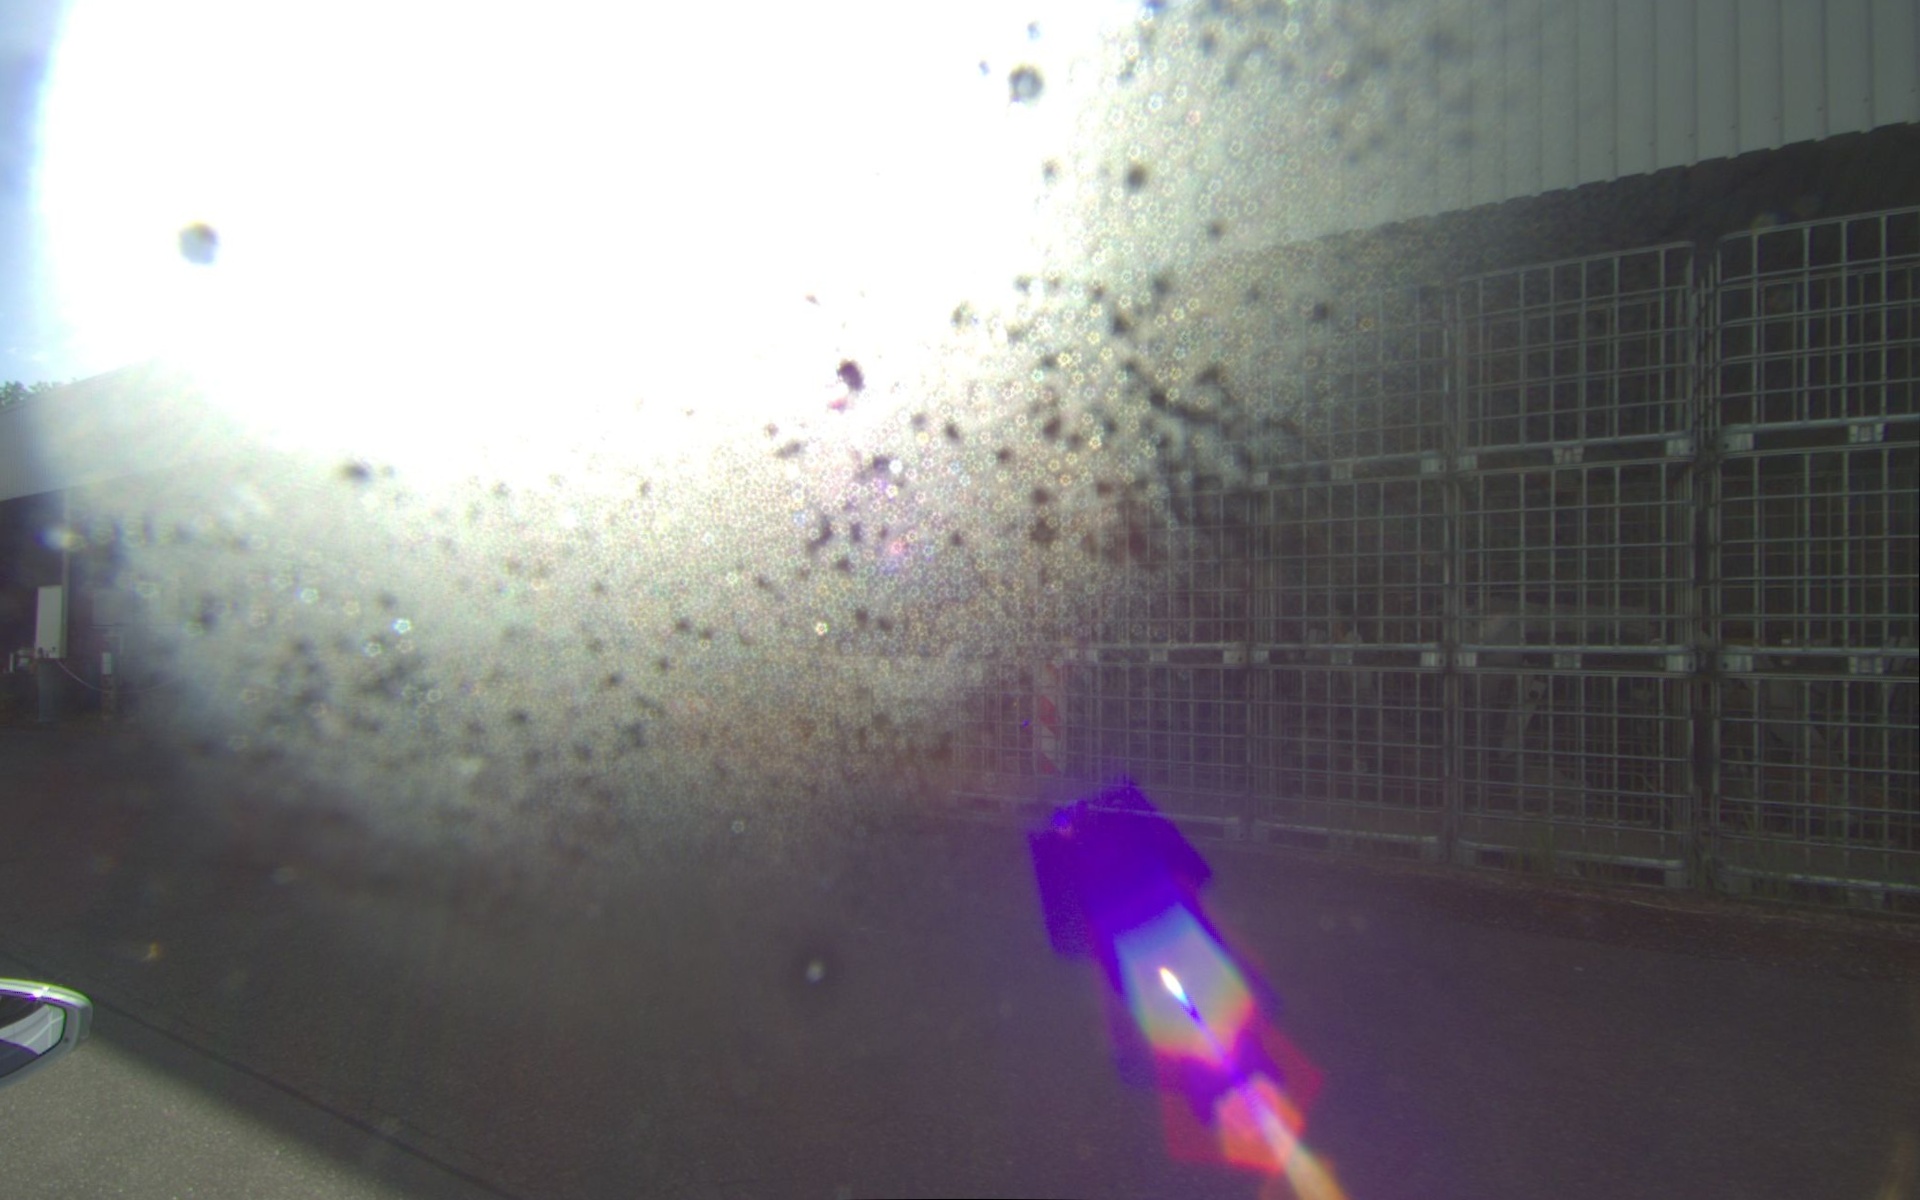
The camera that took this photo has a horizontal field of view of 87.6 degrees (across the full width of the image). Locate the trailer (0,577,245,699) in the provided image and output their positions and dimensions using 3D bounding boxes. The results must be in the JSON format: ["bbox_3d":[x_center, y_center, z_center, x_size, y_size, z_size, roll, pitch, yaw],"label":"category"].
[{"bbox_3d":[-18.426,0.797,21.574,2.018,2.372,4.508,-1,-2,32],"label":"trailer"}]

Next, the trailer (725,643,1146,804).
[{"bbox_3d":[0.146,1.121,11.014,1.945,1.200,5.721,-1,-2,30],"label":"trailer"}]

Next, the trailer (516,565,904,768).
[{"bbox_3d":[-2.858,0.731,12.411,2.133,2.016,4.414,-1,-2,33],"label":"trailer"}]

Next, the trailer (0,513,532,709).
[{"bbox_3d":[-15.001,0.316,22.472,2.761,3.386,10.251,0,-1,32],"label":"trailer"}]

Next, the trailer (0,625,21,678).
[{"bbox_3d":[-27.738,1.431,27.894,1.715,1.485,2.032,-1,-1,36],"label":"trailer"}]

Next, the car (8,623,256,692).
[{"bbox_3d":[-19.799,1.346,24.161,1.841,1.490,4.246,0,-2,28],"label":"car"}]

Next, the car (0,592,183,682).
[{"bbox_3d":[-24.968,1.029,27.497,2.121,2.309,5.326,-1,-3,31],"label":"car"}]
